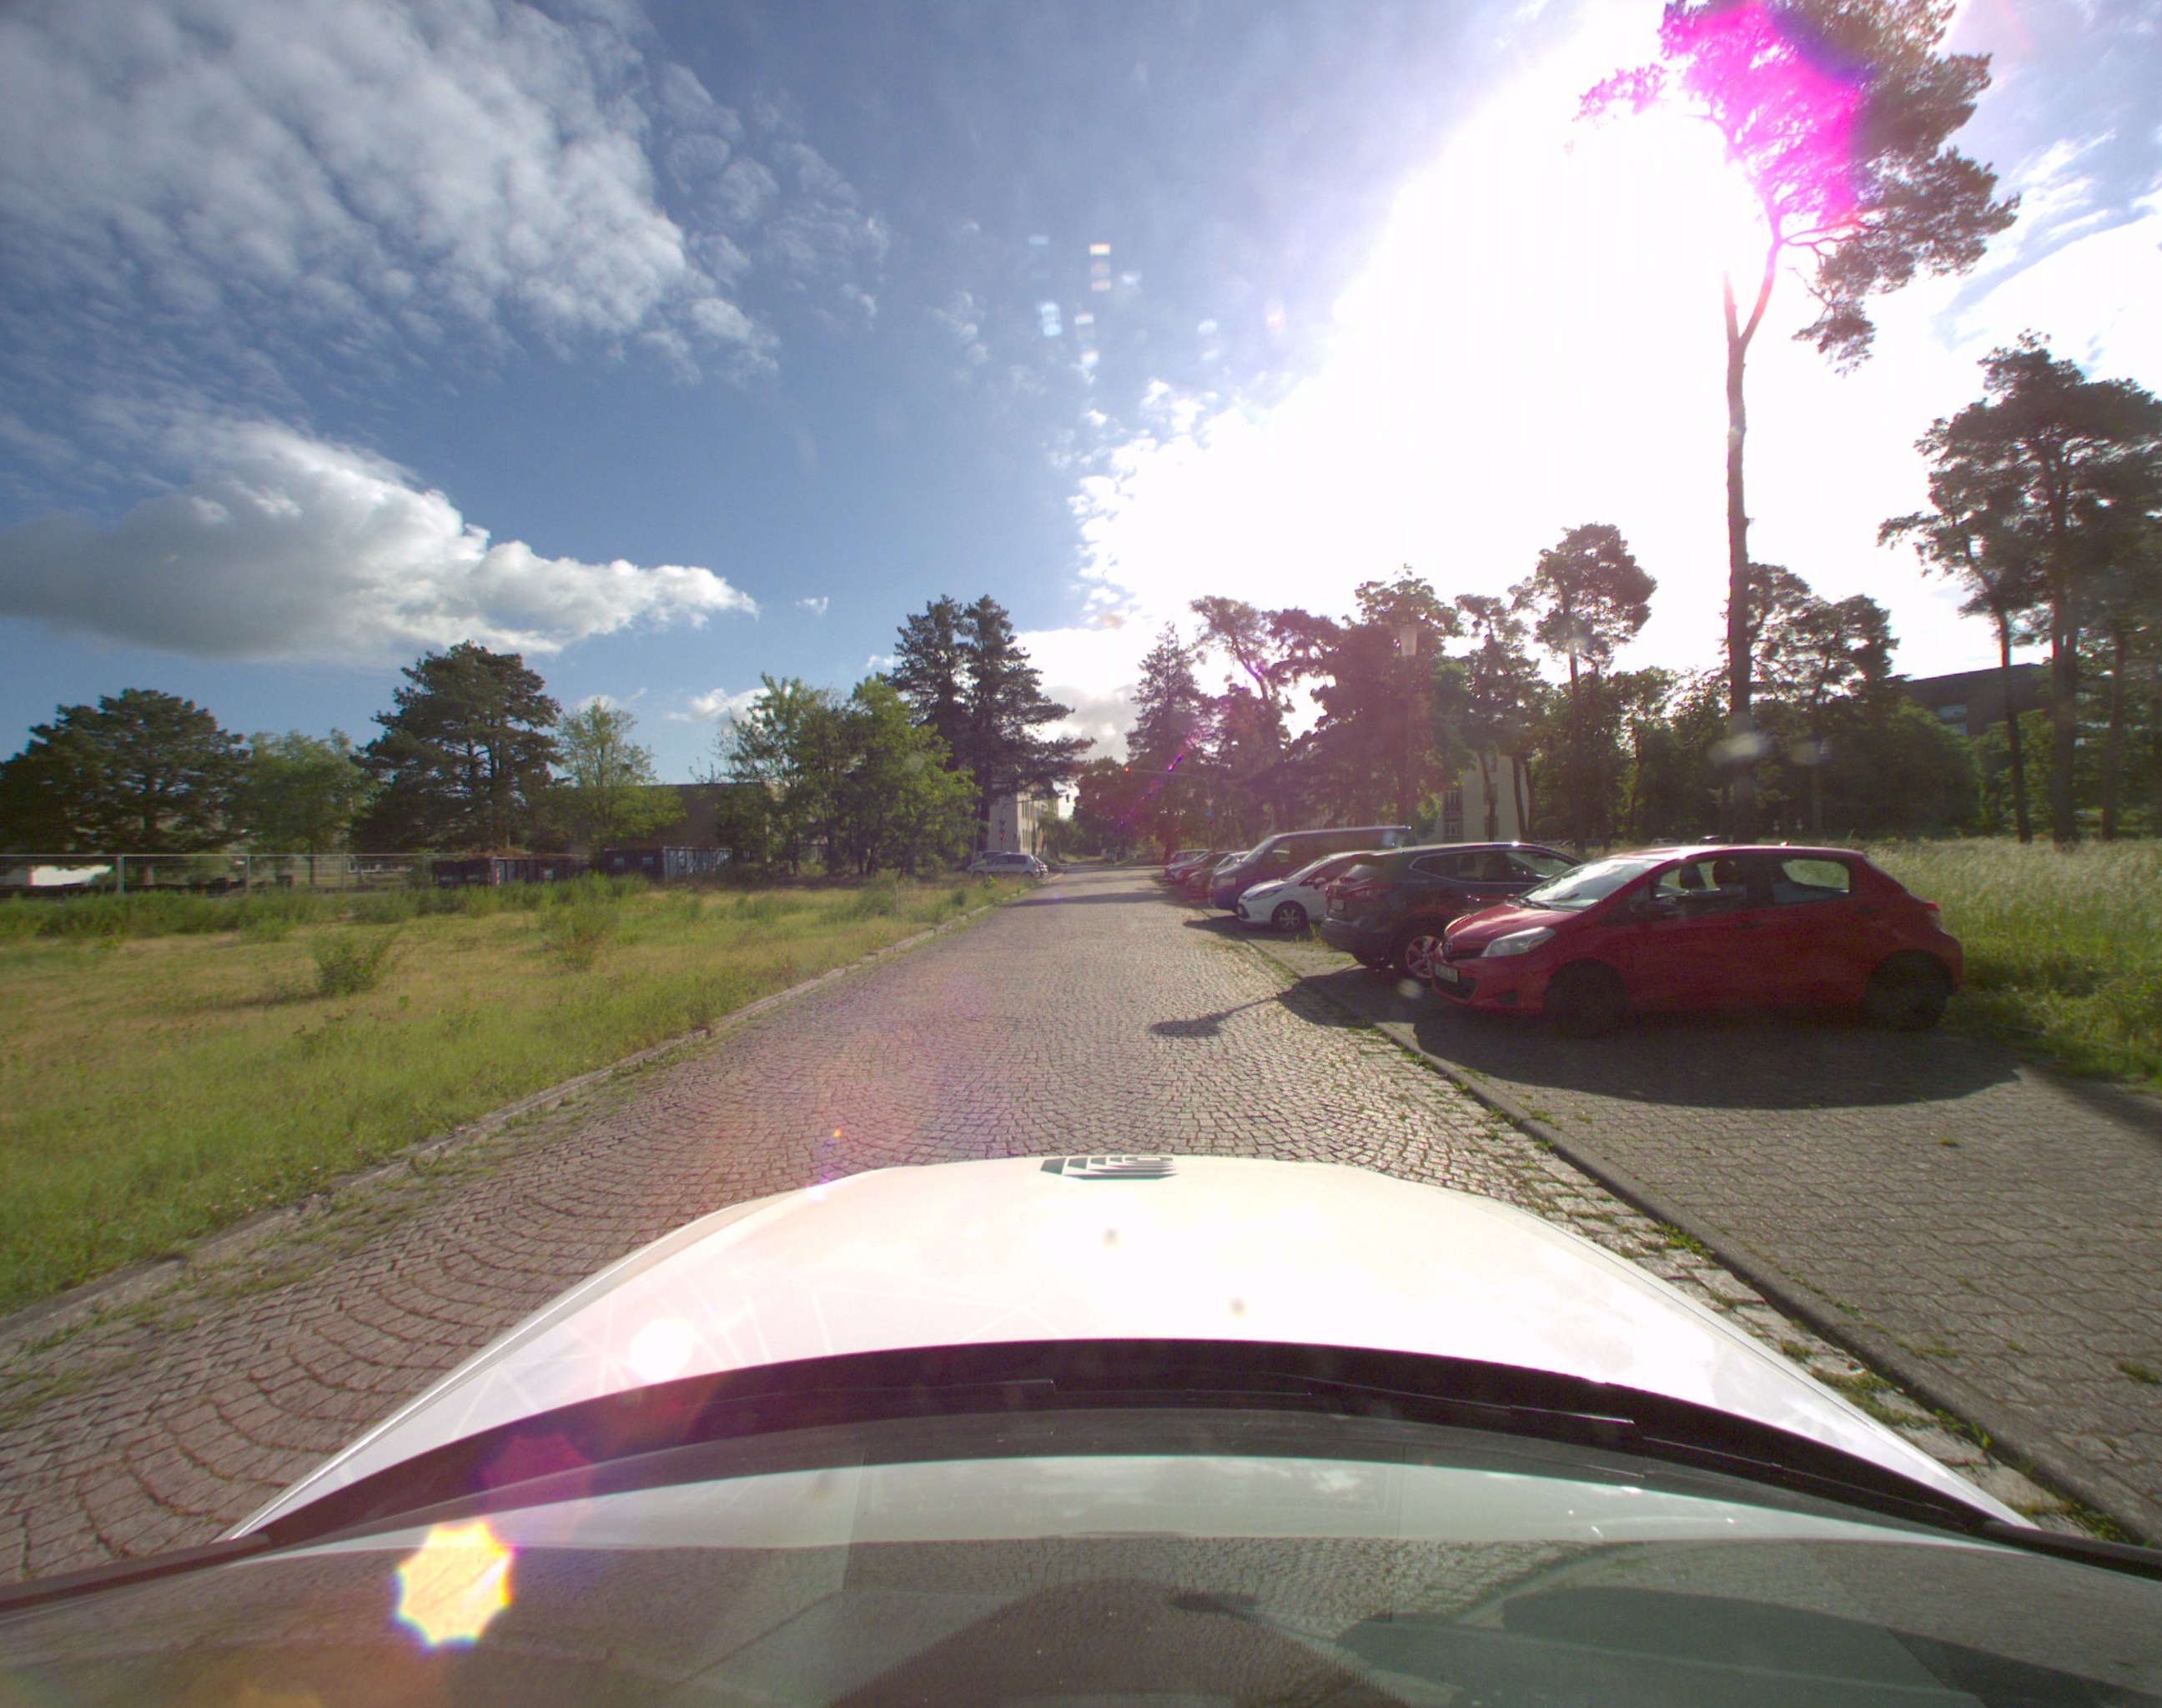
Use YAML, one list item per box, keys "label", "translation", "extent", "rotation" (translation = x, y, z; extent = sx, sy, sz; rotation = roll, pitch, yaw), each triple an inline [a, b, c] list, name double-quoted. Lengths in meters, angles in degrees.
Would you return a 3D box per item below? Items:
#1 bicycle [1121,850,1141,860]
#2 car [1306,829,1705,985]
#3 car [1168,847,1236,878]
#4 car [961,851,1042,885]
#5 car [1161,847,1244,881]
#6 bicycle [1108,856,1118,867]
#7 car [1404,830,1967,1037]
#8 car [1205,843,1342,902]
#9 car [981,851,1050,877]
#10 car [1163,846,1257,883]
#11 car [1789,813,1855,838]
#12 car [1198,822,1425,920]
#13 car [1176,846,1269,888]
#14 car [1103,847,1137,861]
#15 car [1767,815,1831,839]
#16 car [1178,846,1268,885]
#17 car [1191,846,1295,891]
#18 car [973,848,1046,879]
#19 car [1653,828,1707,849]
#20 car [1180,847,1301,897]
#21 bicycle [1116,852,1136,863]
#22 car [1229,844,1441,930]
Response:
- label: "bicycle"
  translation: [5.652, 0.110, 92.868]
  extent: [2.171, 1.100, 0.805]
  rotation: [-1, 0, -8]
- label: "car"
  translation: [4.949, 0.583, 9.904]
  extent: [3.922, 1.621, 1.772]
  rotation: [-2, 0, 0]
- label: "car"
  translation: [6.307, 0.441, 42.621]
  extent: [3.332, 1.482, 1.645]
  rotation: [-2, 0, 0]
- label: "car"
  translation: [-4.069, 0.705, 42.129]
  extent: [3.975, 1.600, 1.999]
  rotation: [-2, 0, -1]
- label: "car"
  translation: [5.907, 0.487, 39.989]
  extent: [3.822, 1.529, 1.645]
  rotation: [-2, 0, 0]
- label: "bicycle"
  translation: [3.420, 0.819, 88.273]
  extent: [0.803, 1.169, 2.177]
  rotation: [-3, 0, -4]
- label: "car"
  translation: [5.068, 0.624, 7.232]
  extent: [3.748, 1.530, 1.646]
  rotation: [-2, 0, 1]
- label: "car"
  translation: [5.640, 0.529, 24.173]
  extent: [3.679, 1.465, 1.646]
  rotation: [-3, 0, 2]
- label: "car"
  translation: [-3.989, 0.626, 49.924]
  extent: [3.972, 1.453, 2.001]
  rotation: [1, 0, 1]
- label: "car"
  translation: [5.855, 0.478, 37.217]
  extent: [4.023, 1.529, 1.644]
  rotation: [-2, 0, -2]
- label: "car"
  translation: [65.065, -2.507, 71.571]
  extent: [3.972, 2.013, 2.001]
  rotation: [-2, 0, 2]
- label: "car"
  translation: [5.245, 0.363, 19.002]
  extent: [4.663, 2.013, 2.083]
  rotation: [-2, 0, -1]
- label: "car"
  translation: [5.629, 0.505, 32.679]
  extent: [3.466, 1.529, 1.645]
  rotation: [-2, 0, 0]
- label: "car"
  translation: [5.183, -0.011, 109.176]
  extent: [4.464, 1.728, 2.001]
  rotation: [-1, 0, 1]
- label: "car"
  translation: [64.962, -2.411, 73.758]
  extent: [3.972, 2.013, 2.001]
  rotation: [-2, 0, 2]
- label: "car"
  translation: [6.062, 0.482, 35.130]
  extent: [3.590, 1.529, 1.645]
  rotation: [-2, 0, 0]
- label: "car"
  translation: [5.909, 0.512, 29.977]
  extent: [3.466, 1.529, 1.645]
  rotation: [-2, 0, 0]
- label: "car"
  translation: [-4.151, 0.539, 47.525]
  extent: [3.972, 1.601, 2.001]
  rotation: [2, 0, 1]
- label: "car"
  translation: [61.389, -1.604, 83.498]
  extent: [3.972, 2.013, 2.001]
  rotation: [-2, 0, 2]
- label: "car"
  translation: [5.234, 0.574, 27.074]
  extent: [3.662, 1.467, 1.645]
  rotation: [-2, 0, 0]
- label: "bicycle"
  translation: [5.037, 0.396, 91.693]
  extent: [2.171, 1.100, 0.805]
  rotation: [-1, 0, -8]
- label: "car"
  translation: [4.984, 0.614, 16.328]
  extent: [3.707, 1.488, 1.645]
  rotation: [-2, 0, -1]
